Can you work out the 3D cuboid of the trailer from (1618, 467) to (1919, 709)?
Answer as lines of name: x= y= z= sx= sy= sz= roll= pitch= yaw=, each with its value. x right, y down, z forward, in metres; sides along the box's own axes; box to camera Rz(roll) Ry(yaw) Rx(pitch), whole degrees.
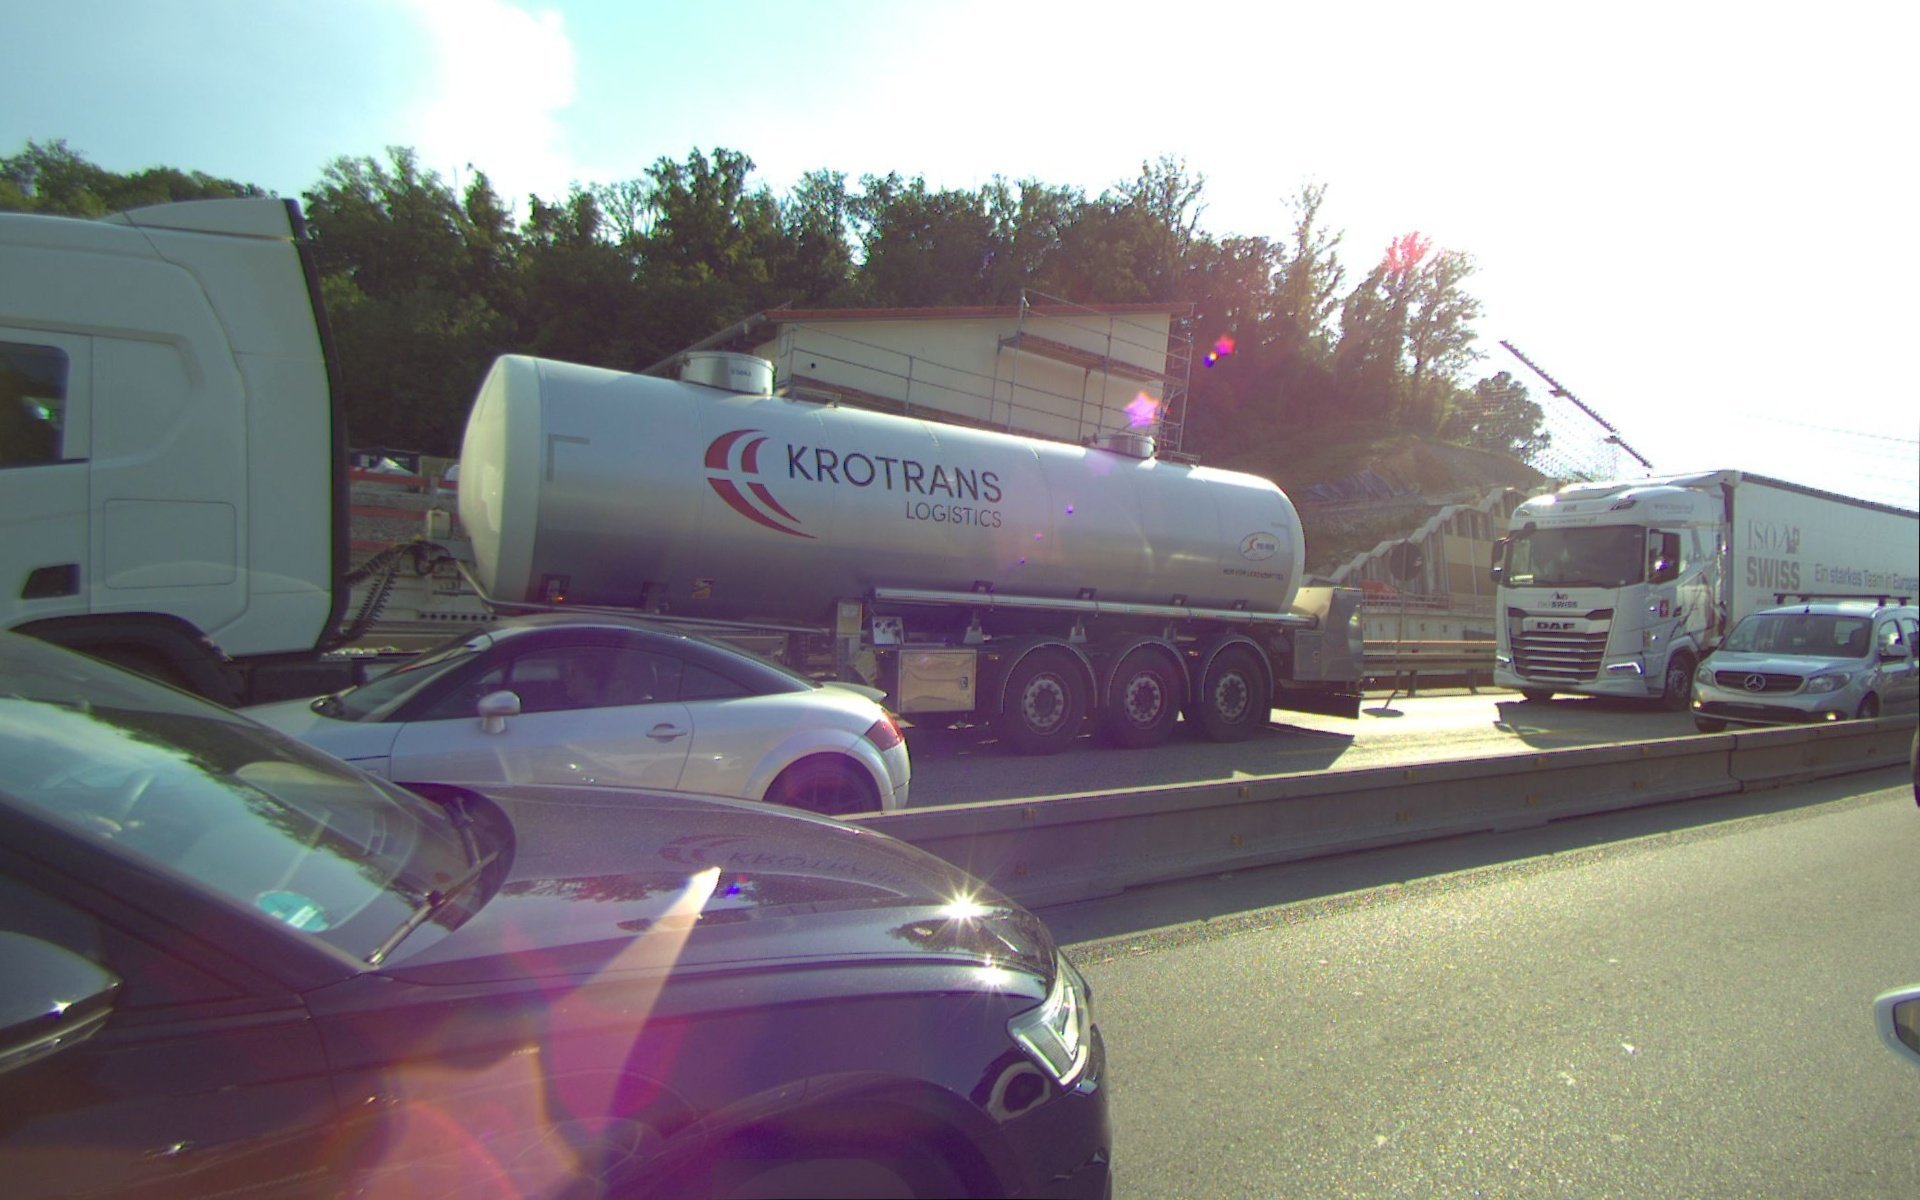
trailer: x=18.905 y=0.064 z=22.171 sx=12.010 sy=4.321 sz=2.440 roll=3 pitch=-2 yaw=-32

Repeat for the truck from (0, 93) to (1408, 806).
truck: x=-1.213 y=-0.651 z=9.854 sx=13.734 sy=4.022 sz=2.795 roll=2 pitch=0 yaw=-31

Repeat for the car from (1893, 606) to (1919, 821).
car: x=9.271 y=0.941 z=8.016 sx=4.102 sy=1.608 sz=1.691 roll=3 pitch=-2 yaw=-32

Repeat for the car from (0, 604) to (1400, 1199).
car: x=-1.961 y=0.738 z=1.366 sx=5.157 sy=1.500 sz=1.933 roll=3 pitch=-2 yaw=-28

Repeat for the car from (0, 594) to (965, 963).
car: x=-2.128 y=0.705 z=5.172 sx=4.005 sy=1.269 sz=1.703 roll=3 pitch=-2 yaw=-31

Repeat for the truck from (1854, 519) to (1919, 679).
truck: x=28.345 y=0.095 z=28.633 sx=5.711 sy=4.328 sz=2.876 roll=3 pitch=-2 yaw=-33

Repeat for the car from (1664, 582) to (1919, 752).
car: x=11.667 y=0.811 z=13.573 sx=4.811 sy=1.942 sz=1.823 roll=1 pitch=0 yaw=-33

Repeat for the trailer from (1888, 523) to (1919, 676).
trailer: x=34.307 y=0.306 z=32.578 sx=14.229 sy=4.451 sz=2.876 roll=3 pitch=-2 yaw=-34

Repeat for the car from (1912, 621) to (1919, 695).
car: x=21.794 y=1.243 z=21.142 sx=3.805 sy=1.526 sz=1.661 roll=1 pitch=0 yaw=-32

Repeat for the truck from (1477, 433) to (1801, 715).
truck: x=12.338 y=-0.254 z=18.091 sx=6.251 sy=4.328 sz=2.431 roll=3 pitch=-2 yaw=-32
